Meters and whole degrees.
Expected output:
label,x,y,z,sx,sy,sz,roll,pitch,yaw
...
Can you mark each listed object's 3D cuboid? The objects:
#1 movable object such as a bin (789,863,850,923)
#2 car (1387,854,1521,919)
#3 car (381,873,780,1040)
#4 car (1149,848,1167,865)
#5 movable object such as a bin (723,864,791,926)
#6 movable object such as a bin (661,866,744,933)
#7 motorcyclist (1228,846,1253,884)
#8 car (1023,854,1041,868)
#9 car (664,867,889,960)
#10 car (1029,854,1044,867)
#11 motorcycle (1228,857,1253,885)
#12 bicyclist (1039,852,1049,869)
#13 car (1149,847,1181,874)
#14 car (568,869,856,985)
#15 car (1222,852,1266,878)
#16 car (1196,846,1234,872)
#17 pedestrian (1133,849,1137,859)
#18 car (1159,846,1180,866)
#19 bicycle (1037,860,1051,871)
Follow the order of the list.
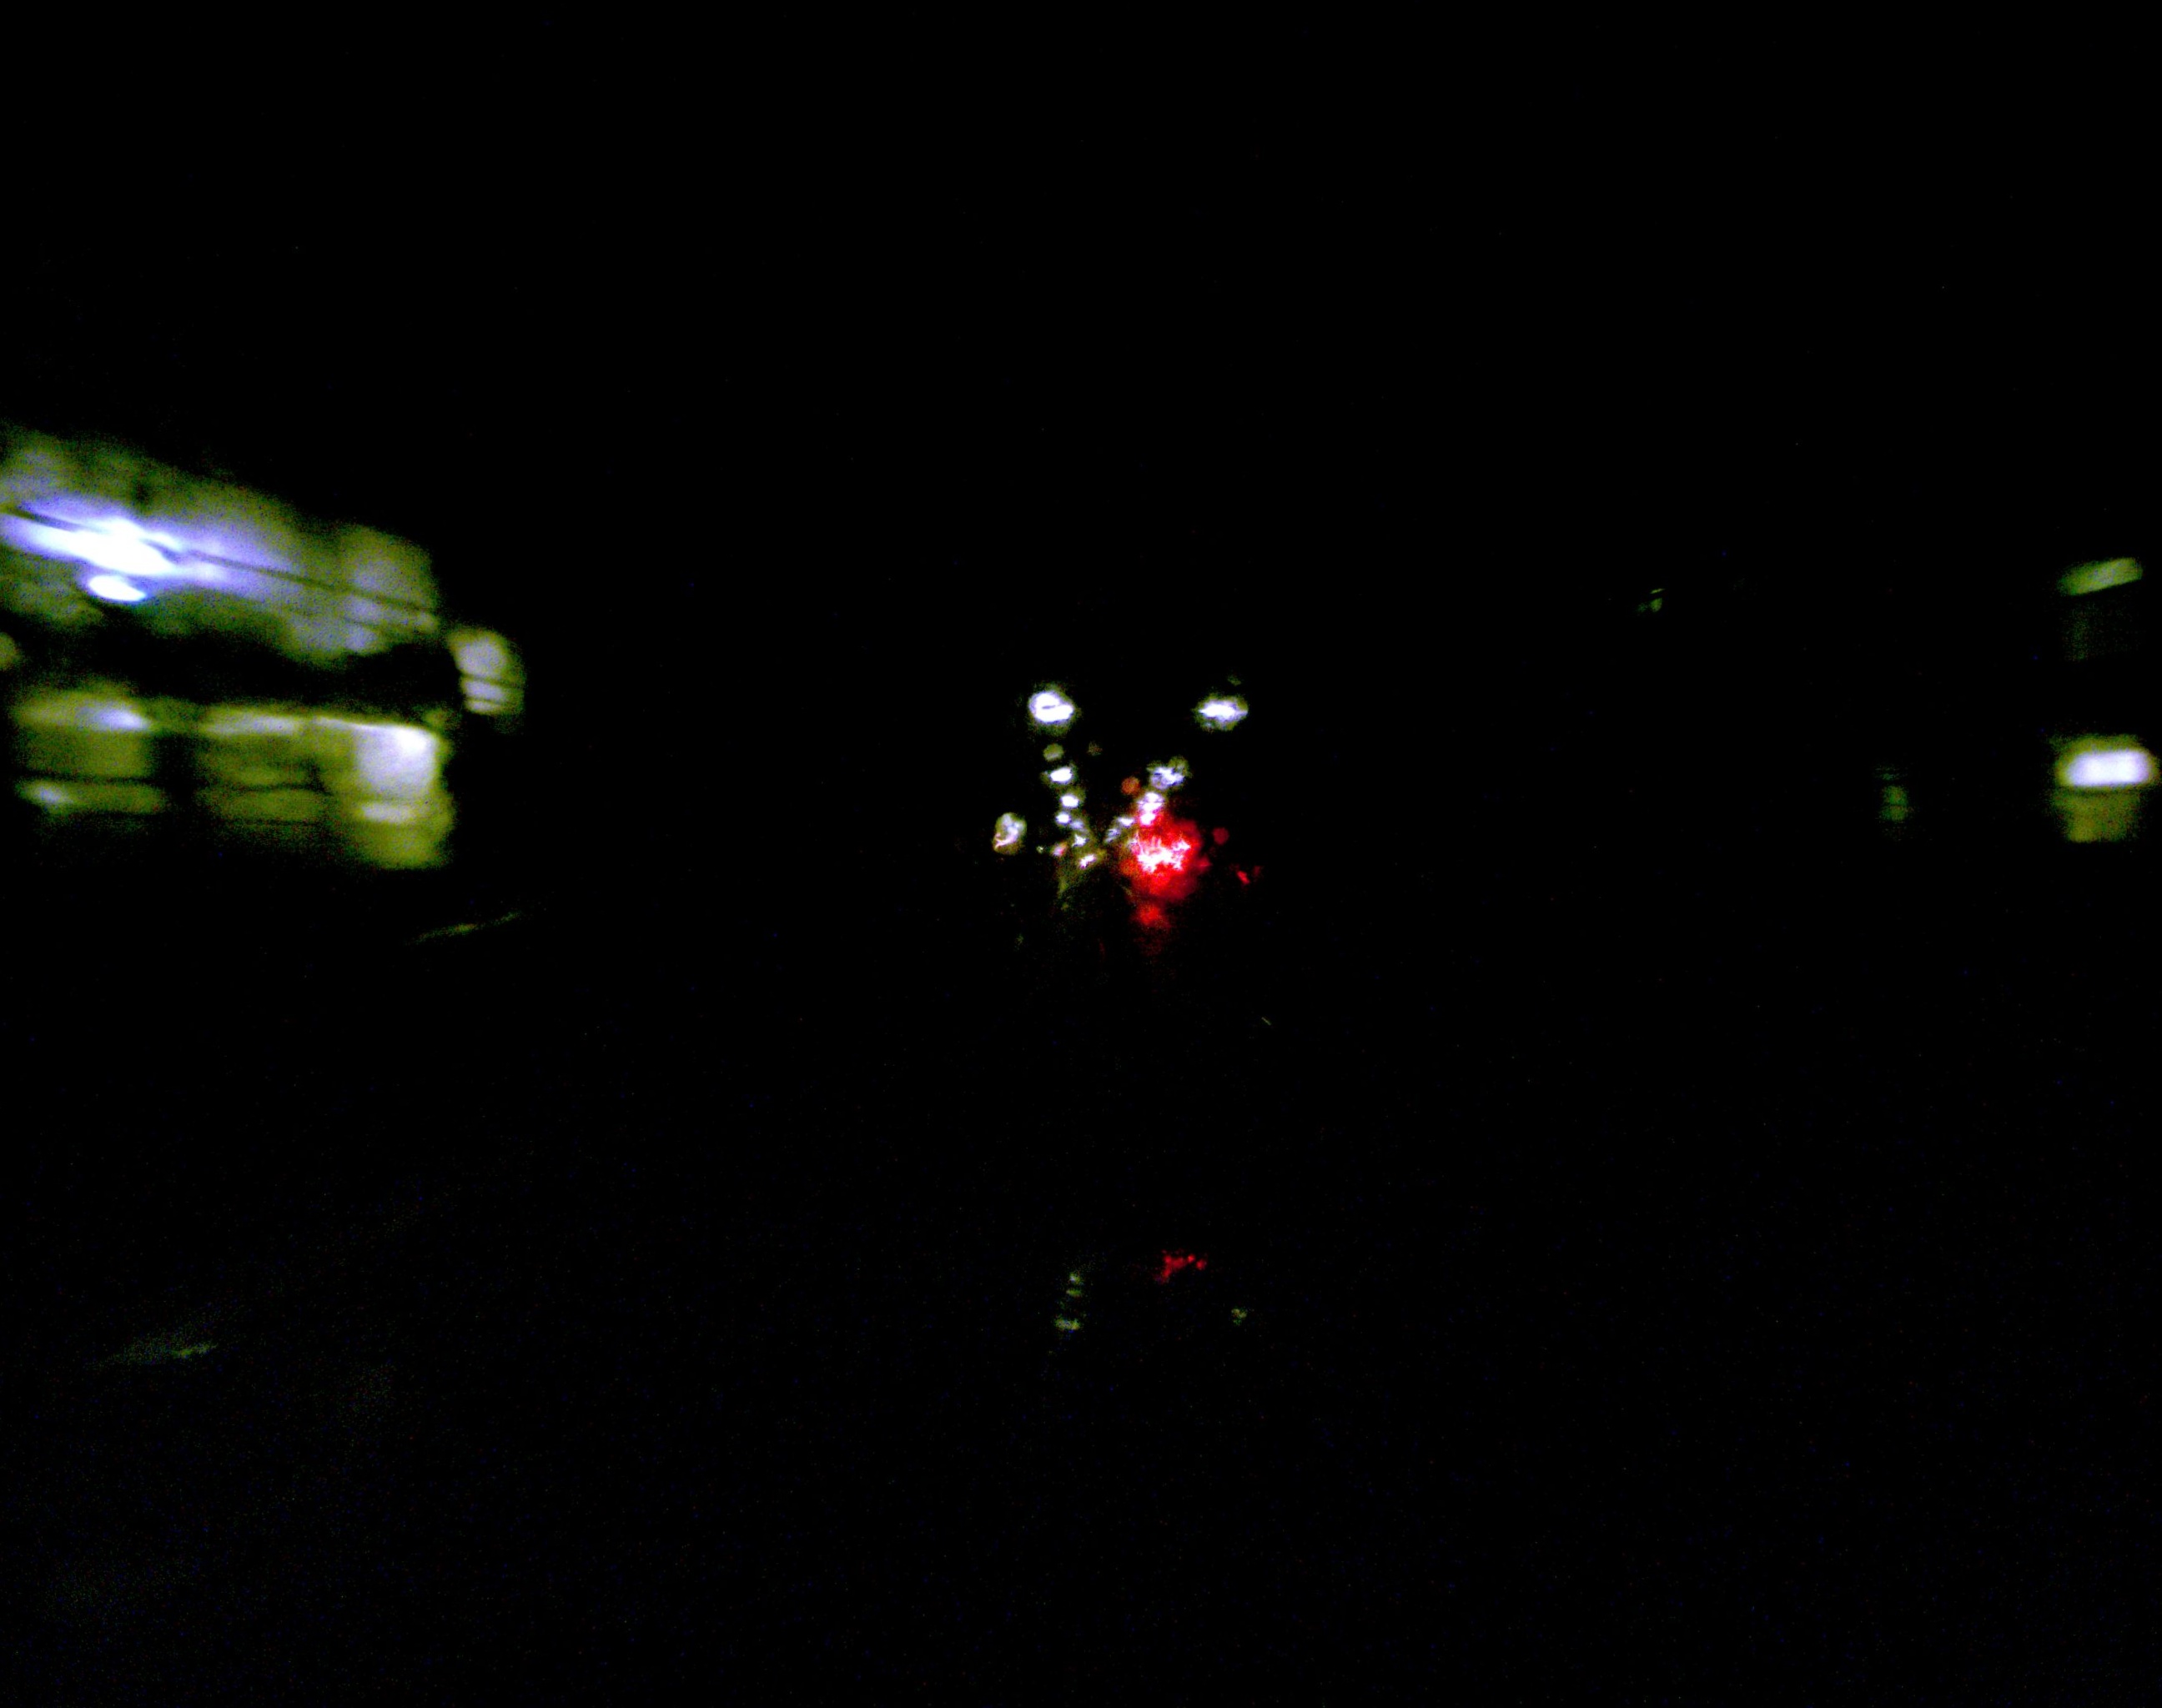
label,x,y,z,sx,sy,sz,roll,pitch,yaw
movable object such as a bin,-6.484,0.934,18.867,1.353,1.399,1.025,-1,1,-19
car,9.813,0.792,20.357,1.672,1.379,4.000,-3,1,2
car,-6.018,1.072,9.439,3.842,1.430,1.596,-4,1,-44
car,8.649,0.259,85.672,1.899,1.858,4.537,0,1,4
movable object such as a bin,-7.788,0.954,18.362,1.413,1.399,1.025,-1,1,-19
movable object such as a bin,-8.423,0.987,16.965,1.025,1.399,1.418,-1,1,7
motorcyclist,7.804,0.522,37.217,0.920,1.730,1.136,4,2,3
car,-5.457,0.773,84.536,1.649,1.433,4.055,3,0,0
car,-6.088,1.096,15.409,3.797,1.450,1.765,-3,1,-41
car,-5.280,0.761,90.105,1.652,1.516,3.579,3,0,-3
motorcycle,7.784,0.807,37.196,0.819,1.223,2.001,4,2,4
bicyclist,-3.523,0.584,72.056,0.571,1.539,0.817,-2,2,22
car,6.041,0.456,55.266,1.943,1.805,4.385,1,0,2
car,-5.952,1.053,12.569,1.802,1.480,3.863,-1,1,43
car,10.227,0.656,48.034,1.770,1.398,4.140,-3,1,-1
car,10.456,0.370,59.657,1.998,1.815,5.309,-4,0,0
pedestrian,9.055,0.015,127.865,0.401,1.620,0.531,-5,2,-42
car,8.466,0.220,72.941,1.930,1.868,4.639,1,0,6
bicycle,-3.502,1.078,72.069,0.571,0.964,1.783,-2,1,22
